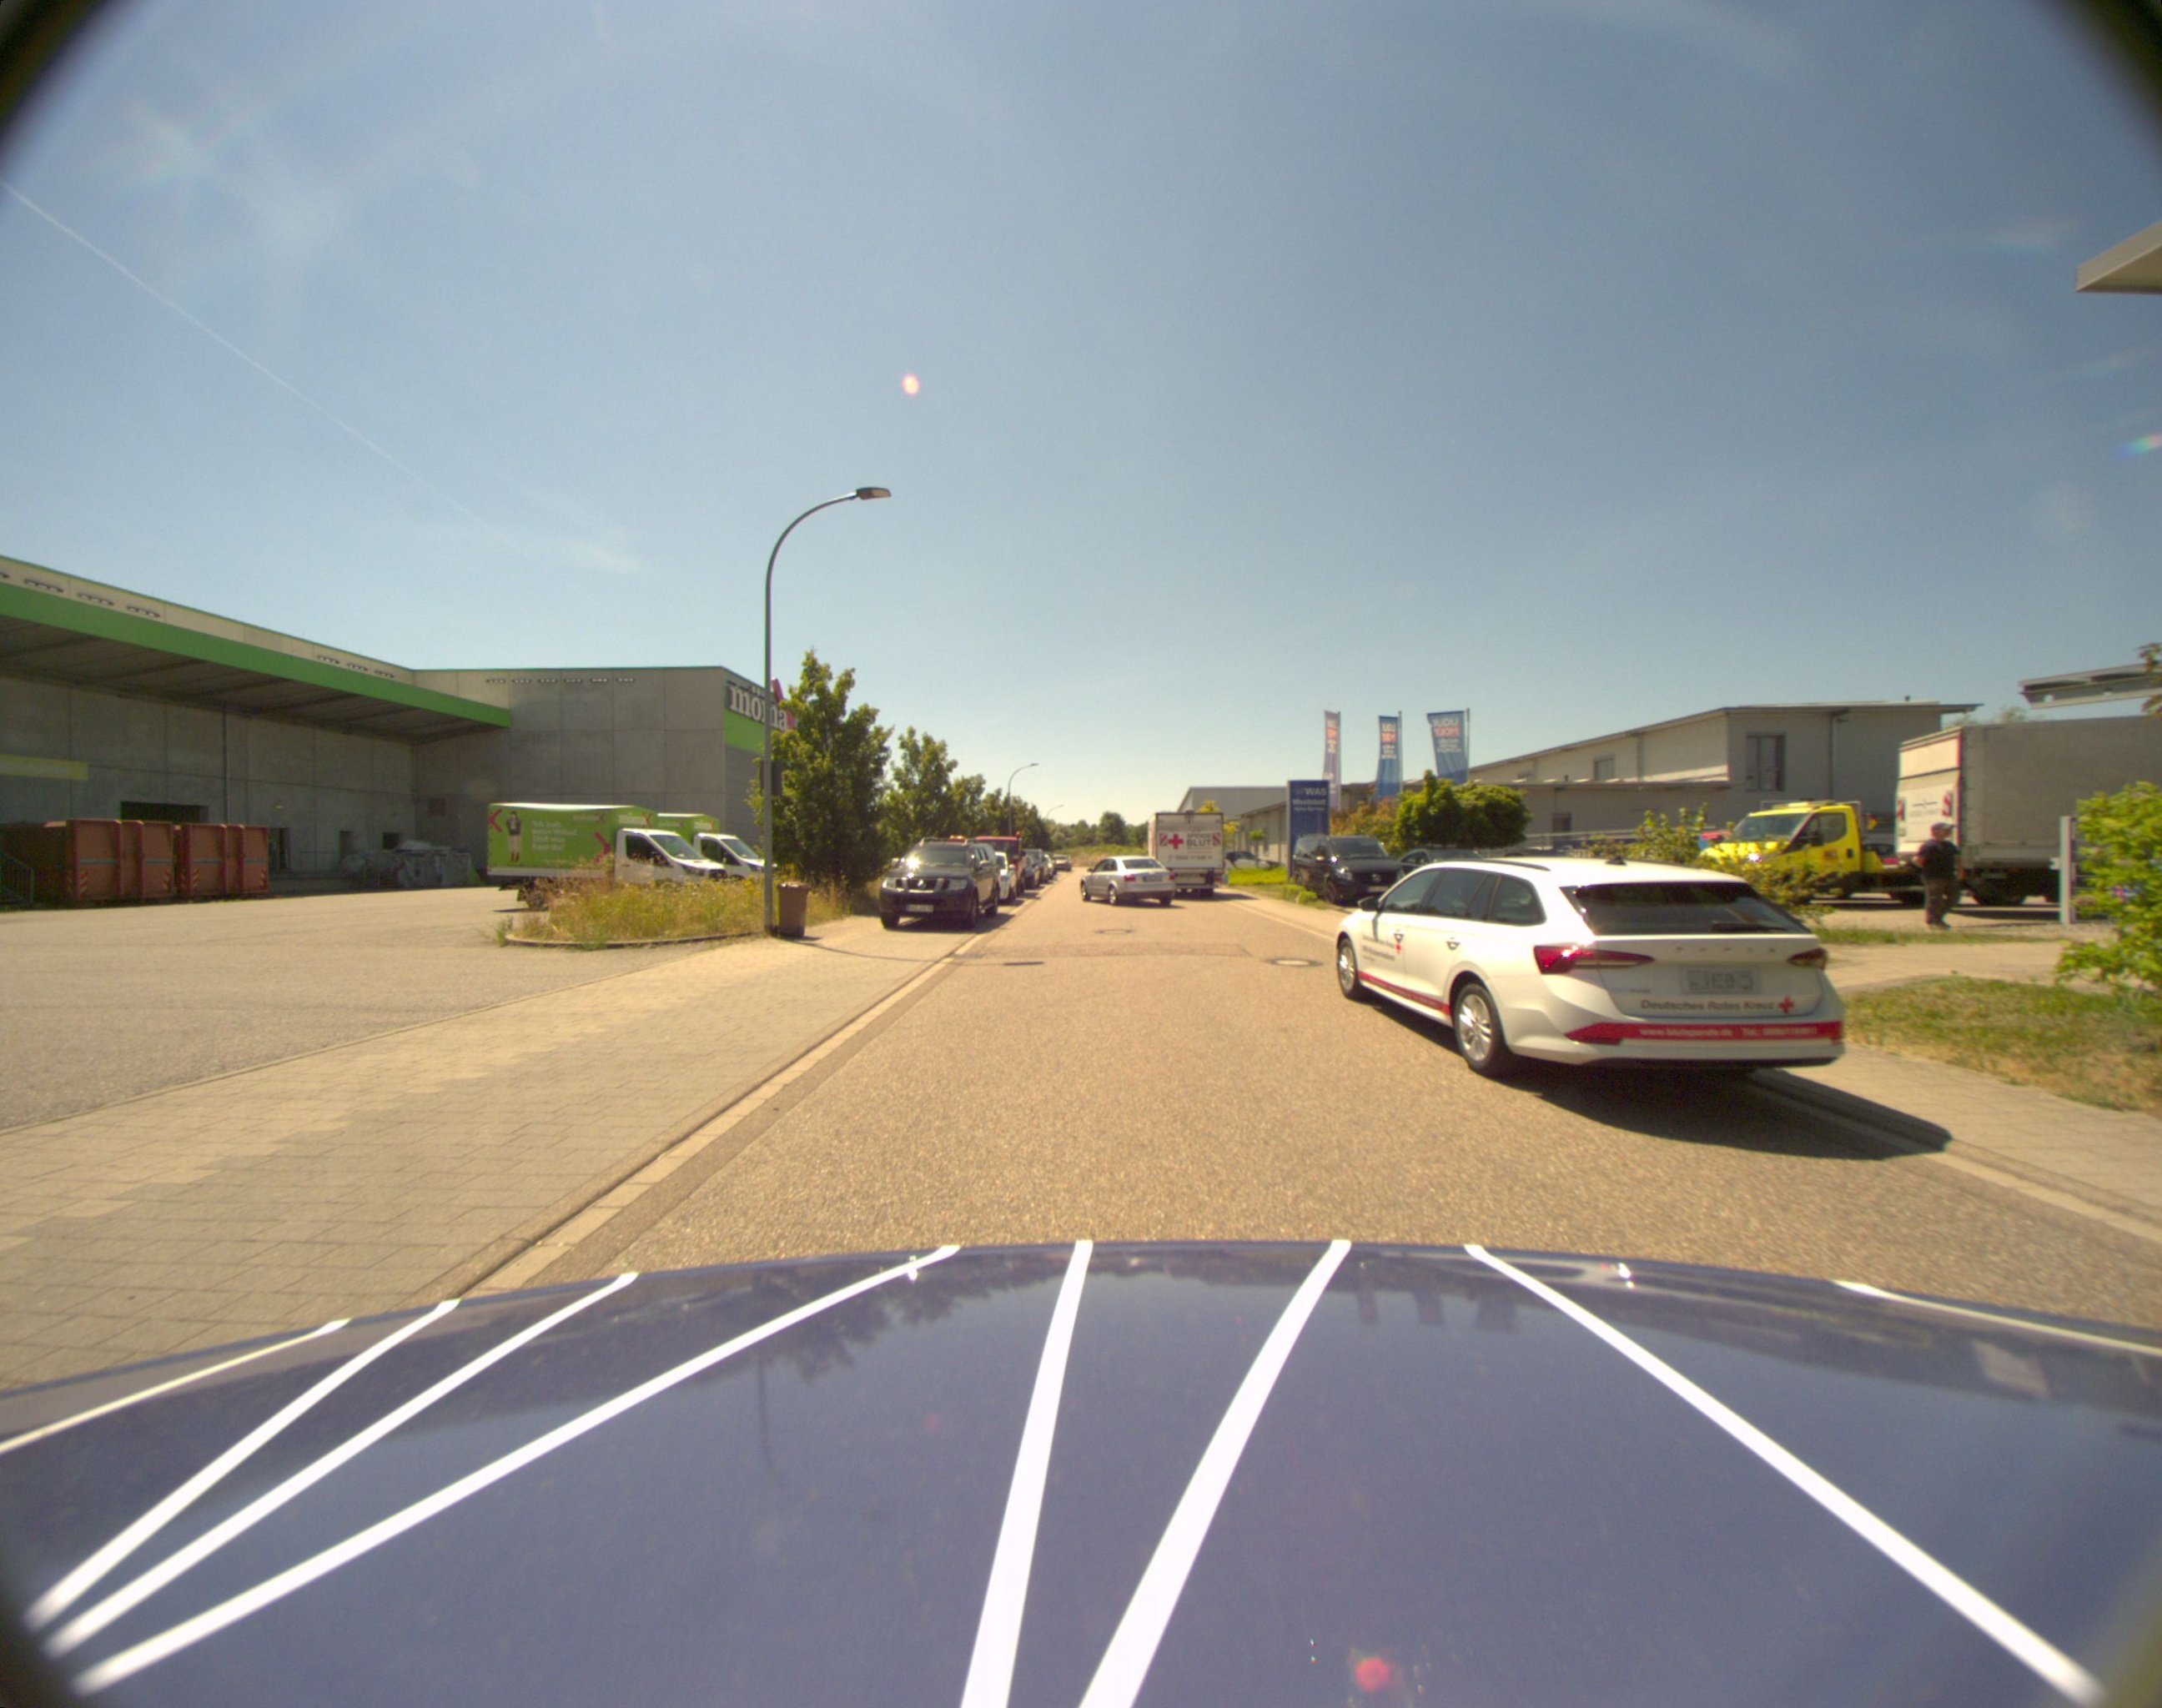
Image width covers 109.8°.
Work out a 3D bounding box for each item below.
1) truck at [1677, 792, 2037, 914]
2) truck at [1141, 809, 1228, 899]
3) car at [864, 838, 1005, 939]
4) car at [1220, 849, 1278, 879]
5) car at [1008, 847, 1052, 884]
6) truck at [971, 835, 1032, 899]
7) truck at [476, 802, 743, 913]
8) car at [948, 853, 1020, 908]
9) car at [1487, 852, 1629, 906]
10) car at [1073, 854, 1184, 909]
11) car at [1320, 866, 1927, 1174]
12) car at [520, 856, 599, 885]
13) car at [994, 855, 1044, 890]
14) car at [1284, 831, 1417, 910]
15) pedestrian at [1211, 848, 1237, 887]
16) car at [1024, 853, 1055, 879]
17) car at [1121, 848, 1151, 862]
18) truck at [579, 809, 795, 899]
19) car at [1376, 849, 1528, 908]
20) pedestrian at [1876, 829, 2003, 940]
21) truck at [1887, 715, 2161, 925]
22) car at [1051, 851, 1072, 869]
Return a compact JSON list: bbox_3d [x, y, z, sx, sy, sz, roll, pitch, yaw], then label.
[{"bbox_3d":[17.494,-0.008,17.382,5.969,2.447,2.166,-2,0,1],"label":"truck"},{"bbox_3d":[3.611,-0.017,27.801,2.367,2.843,6.415,2,1,1],"label":"truck"},{"bbox_3d":[-3.015,0.625,16.841,1.998,1.874,5.155,1,0,1],"label":"car"},{"bbox_3d":[8.949,0.515,40.493,2.748,1.509,1.535,-1,0,0],"label":"car"},{"bbox_3d":[-2.581,0.567,39.389,1.815,1.715,4.774,1,0,2],"label":"car"},{"bbox_3d":[-2.856,0.429,28.070,1.683,2.169,4.390,1,0,1],"label":"truck"},{"bbox_3d":[-12.816,0.079,21.001,5.836,2.896,2.414,0,1,0],"label":"truck"},{"bbox_3d":[-2.924,0.756,23.638,1.743,1.522,3.999,1,0,0],"label":"car"},{"bbox_3d":[12.928,0.620,20.879,1.593,1.329,3.763,0,0,1],"label":"car"},{"bbox_3d":[1.287,0.764,22.767,1.790,1.414,4.406,1,1,-18],"label":"car"},{"bbox_3d":[3.476,0.888,6.126,1.734,1.450,4.491,-1,1,1],"label":"car"},{"bbox_3d":[-28.749,0.899,41.932,3.394,1.524,1.550,0,1,5],"label":"car"},{"bbox_3d":[-2.679,0.777,33.750,1.702,1.375,4.837,1,0,1],"label":"car"},{"bbox_3d":[7.466,0.392,21.707,1.998,1.945,5.218,-1,1,1],"label":"car"},{"bbox_3d":[5.946,0.546,31.596,0.901,1.565,0.785,-2,0,2],"label":"pedestrian"},{"bbox_3d":[-2.433,0.683,45.171,1.718,1.474,4.772,1,0,-2],"label":"car"},{"bbox_3d":[8.061,0.110,111.265,4.172,1.649,1.781,-5,1,1],"label":"car"},{"bbox_3d":[-12.906,-0.013,25.218,5.918,2.855,2.306,0,1,-2],"label":"truck"},{"bbox_3d":[10.119,0.591,21.214,1.936,1.408,4.769,-2,0,1],"label":"car"},{"bbox_3d":[13.911,0.465,12.345,1.014,1.716,0.932,-2,2,-4],"label":"pedestrian"},{"bbox_3d":[20.114,-0.623,13.133,8.042,3.536,2.591,-2,0,30],"label":"truck"},{"bbox_3d":[-1.853,0.570,73.775,1.809,1.626,4.458,1,0,1],"label":"car"}]
